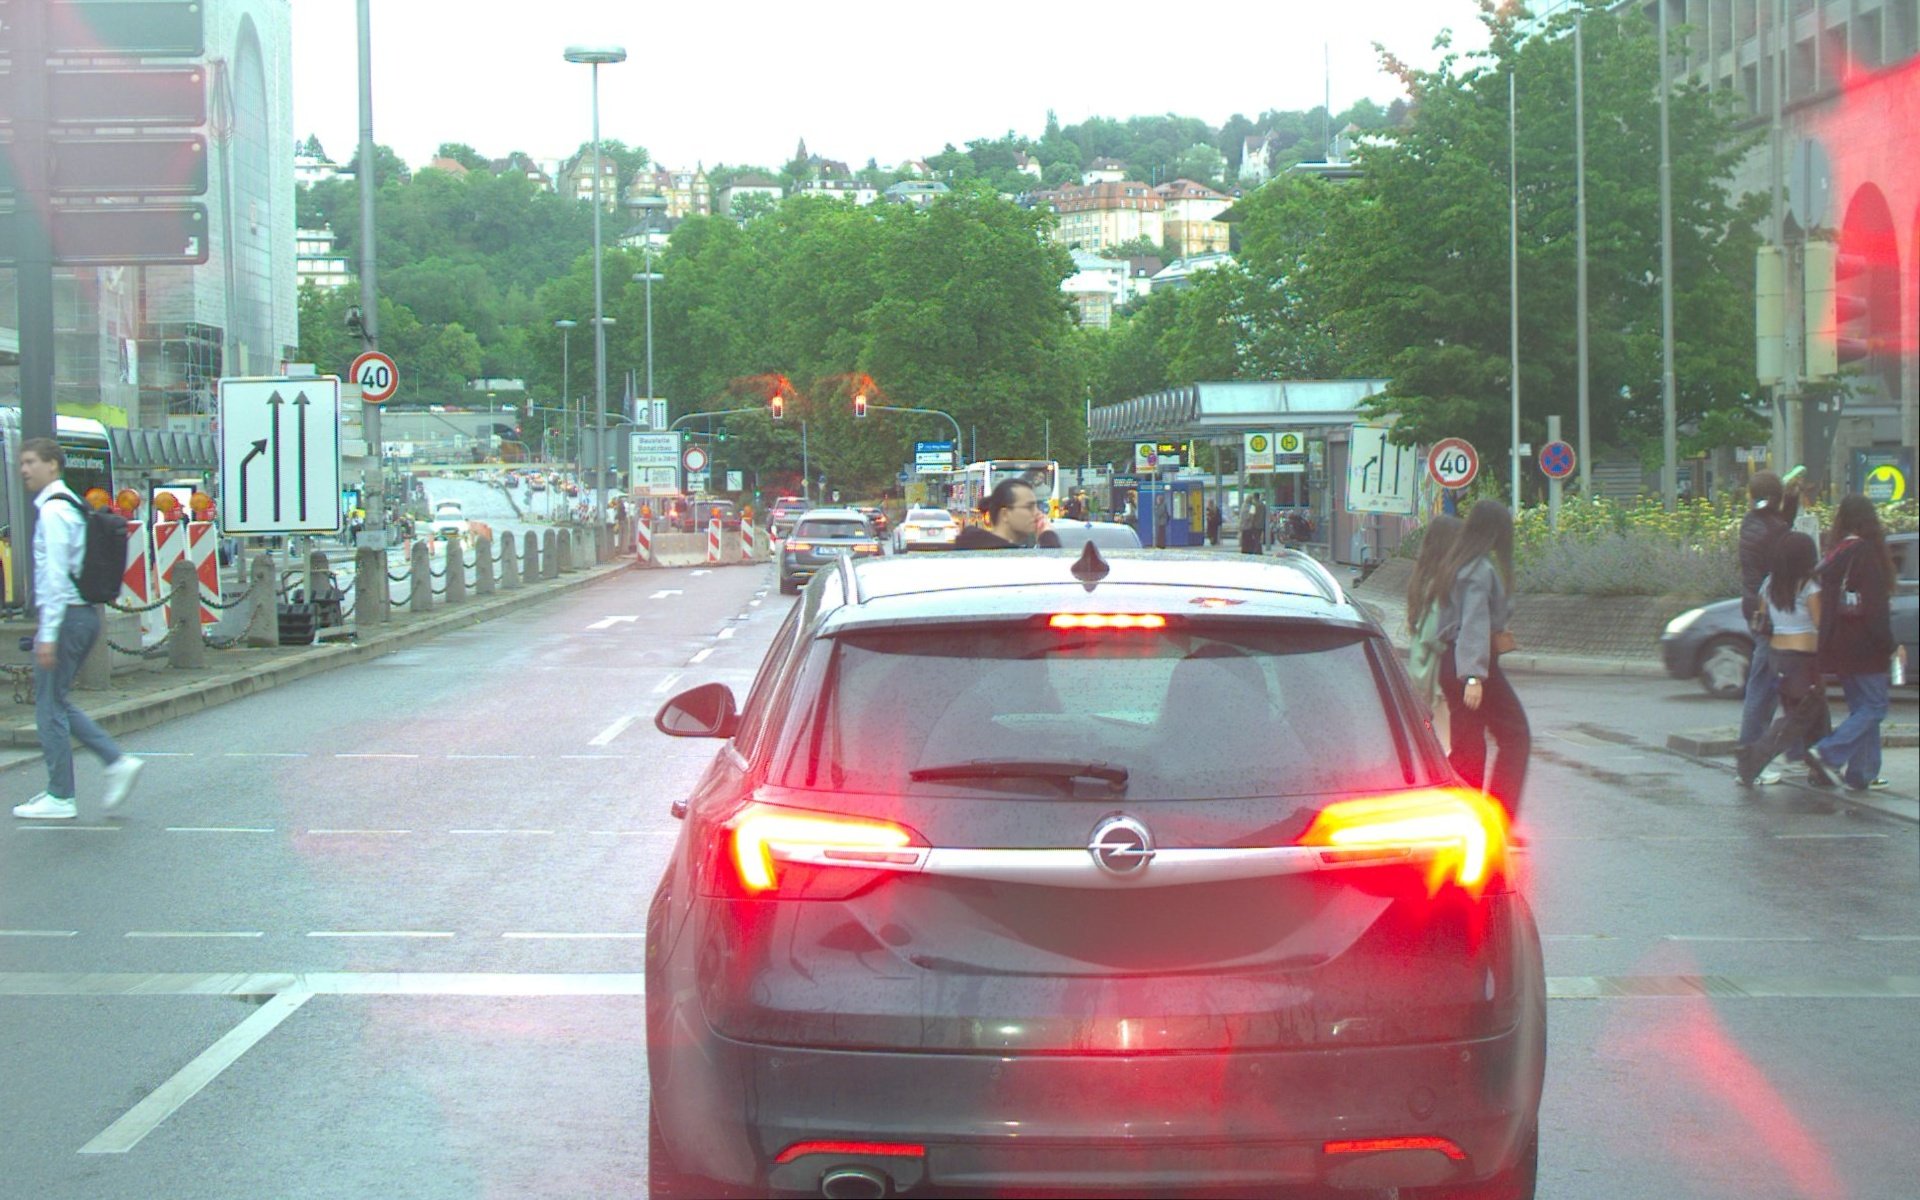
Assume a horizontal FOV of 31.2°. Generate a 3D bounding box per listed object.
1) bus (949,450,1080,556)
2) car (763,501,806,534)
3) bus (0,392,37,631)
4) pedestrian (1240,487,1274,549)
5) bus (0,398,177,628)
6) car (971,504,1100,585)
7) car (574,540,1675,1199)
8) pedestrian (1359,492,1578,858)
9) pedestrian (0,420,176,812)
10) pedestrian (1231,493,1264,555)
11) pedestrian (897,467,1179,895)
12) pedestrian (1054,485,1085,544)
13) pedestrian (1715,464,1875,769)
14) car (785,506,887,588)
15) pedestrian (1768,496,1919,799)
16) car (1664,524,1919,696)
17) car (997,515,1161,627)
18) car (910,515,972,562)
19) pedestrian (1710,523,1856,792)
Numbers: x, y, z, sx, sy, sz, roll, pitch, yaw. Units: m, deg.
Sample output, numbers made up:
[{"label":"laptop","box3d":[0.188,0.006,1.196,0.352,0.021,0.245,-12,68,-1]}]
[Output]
[{"label":"bus","box3d":[1.788,-3.304,121.131,4.173,3.457,14.655,1,1,-1]},{"label":"car","box3d":[-7.661,-3.609,150.301,1.759,1.393,3.564,1,1,-1]},{"label":"bus","box3d":[-15.727,-1.298,48.608,2.668,3.589,10.240,1,1,-1]},{"label":"pedestrian","box3d":[8.150,-2.242,94.329,0.763,1.684,0.825,1,1,-5]},{"label":"bus","box3d":[-15.853,-1.441,58.794,2.668,3.589,10.212,1,1,-1]},{"label":"car","box3d":[1.328,-1.004,62.087,1.753,1.393,4.403,1,1,-6]},{"label":"car","box3d":[0.243,0.623,7.906,1.874,1.481,4.000,1,1,-1]},{"label":"pedestrian","box3d":[2.315,0.330,15.746,0.793,1.620,0.900,1,1,-4]},{"label":"pedestrian","box3d":[-4.301,0.077,16.919,0.798,1.884,0.620,1,1,-9]},{"label":"pedestrian","box3d":[8.001,-2.107,95.599,0.763,1.684,0.825,1,1,-5]},{"label":"pedestrian","box3d":[0.321,0.333,14.698,1.096,1.745,0.654,-2,1,-3]},{"label":"pedestrian","box3d":[4.534,-3.537,142.488,1.199,2.427,1.228,1,1,1]},{"label":"pedestrian","box3d":[4.769,0.092,19.664,0.755,1.711,0.466,1,1,-4]},{"label":"car","box3d":[-2.231,-0.950,61.852,1.753,1.393,4.538,1,1,-2]},{"label":"pedestrian","box3d":[4.867,0.249,18.579,0.799,1.603,0.620,1,1,-4]},{"label":"car","box3d":[8.065,0.079,29.205,3.661,1.393,1.848,1,1,31]},{"label":"car","box3d":[1.539,-0.405,45.878,1.753,1.393,4.649,1,1,-3]},{"label":"car","box3d":[-0.585,-1.882,105.367,1.845,1.393,3.564,1,1,-1]},{"label":"pedestrian","box3d":[4.564,0.314,19.080,0.678,1.469,0.366,1,1,-5]}]
